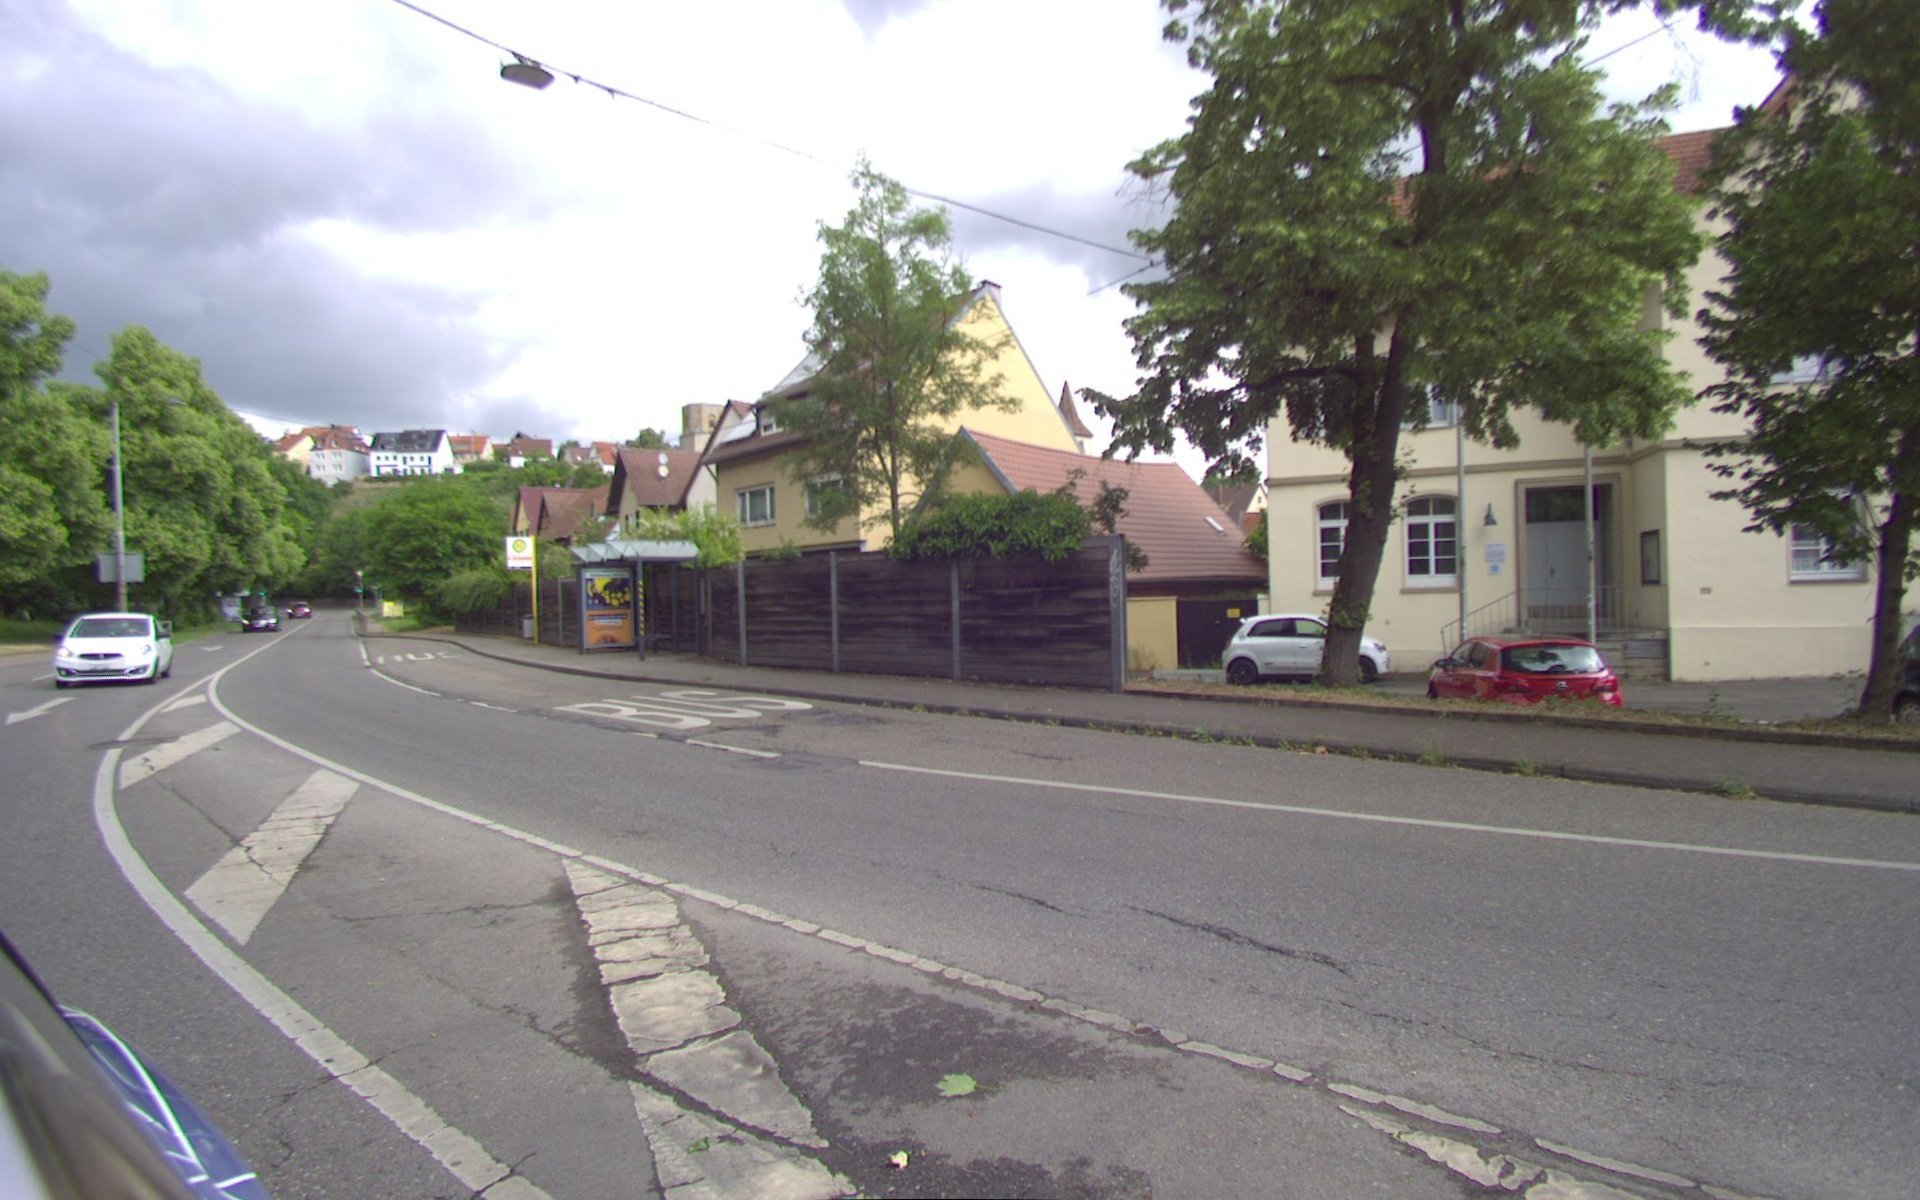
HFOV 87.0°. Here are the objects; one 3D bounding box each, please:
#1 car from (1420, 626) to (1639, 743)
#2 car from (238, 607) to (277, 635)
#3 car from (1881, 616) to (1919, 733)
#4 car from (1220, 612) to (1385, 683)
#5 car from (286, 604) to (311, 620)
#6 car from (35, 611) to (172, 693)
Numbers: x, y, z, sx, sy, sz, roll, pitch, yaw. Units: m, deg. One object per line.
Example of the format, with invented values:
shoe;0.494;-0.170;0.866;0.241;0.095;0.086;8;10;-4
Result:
car;8.190;1.140;14.931;1.644;1.393;3.708;-1;0;10
car;-42.068;1.239;60.665;1.735;1.596;3.693;-1;0;-33
car;12.629;0.929;11.316;1.626;1.450;3.567;-1;0;7
car;7.716;1.049;22.898;3.411;1.490;1.600;-1;0;21
car;-66.517;1.181;101.821;1.734;1.596;3.695;-1;0;-27
car;-18.003;1.027;21.433;1.735;1.536;3.693;-1;0;-33
